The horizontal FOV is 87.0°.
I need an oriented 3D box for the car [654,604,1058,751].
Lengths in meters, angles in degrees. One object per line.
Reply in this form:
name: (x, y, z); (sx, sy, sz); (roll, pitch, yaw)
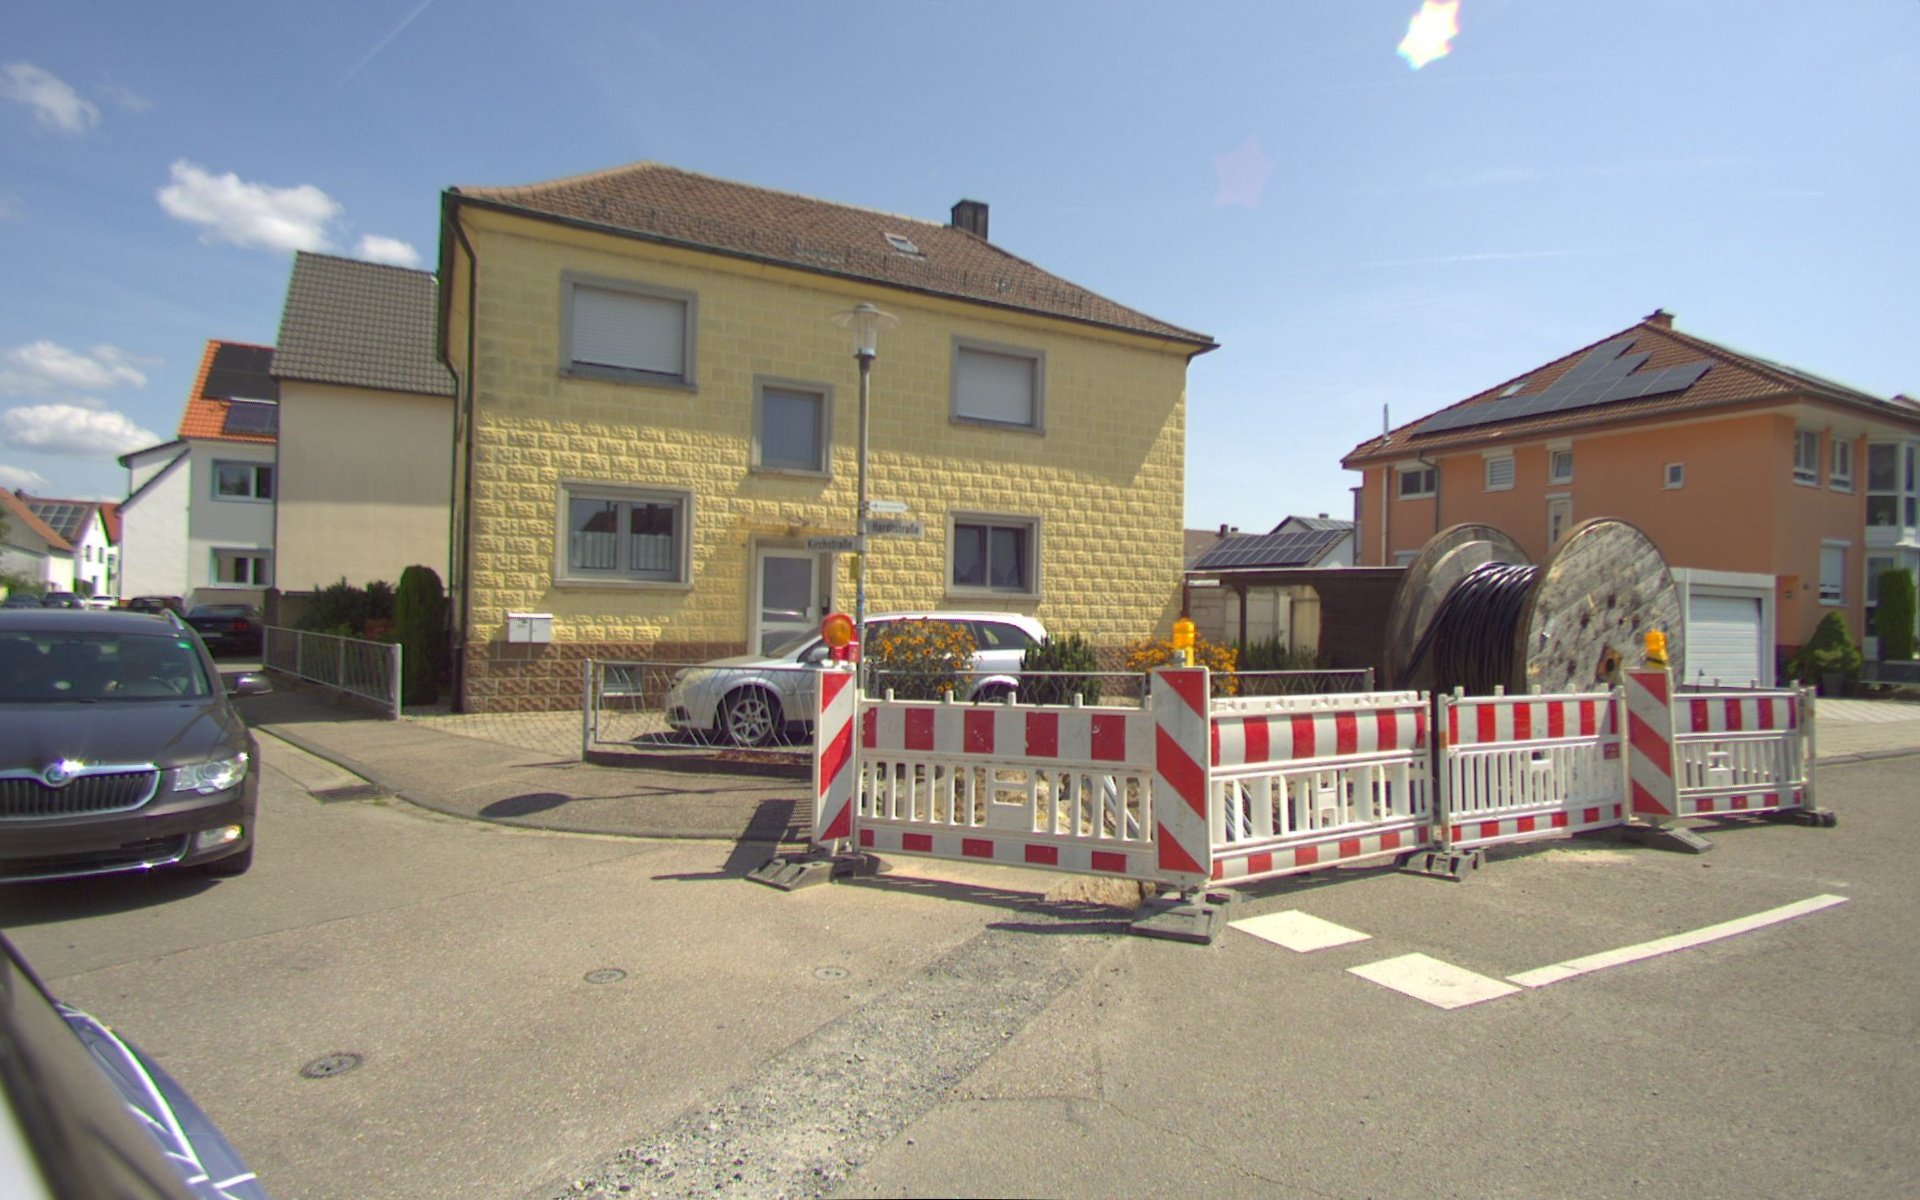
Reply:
car: (-1.254, 0.853, 11.818); (4.397, 1.496, 1.797); (1, -1, -16)

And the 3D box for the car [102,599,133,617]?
car: (-75.933, 0.705, 91.242); (1.756, 1.512, 4.050); (-1, 1, -34)

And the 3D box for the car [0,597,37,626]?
car: (-52.361, 0.616, 55.950); (1.758, 1.490, 4.006); (3, -1, -41)

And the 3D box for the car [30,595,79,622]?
car: (-57.115, 0.511, 63.905); (1.756, 1.621, 4.011); (-1, 1, -34)

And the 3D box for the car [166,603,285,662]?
car: (-19.172, 0.784, 26.616); (1.744, 1.359, 4.484); (0, 0, -25)

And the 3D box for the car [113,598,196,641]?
car: (-28.930, 0.674, 36.446); (1.614, 1.466, 3.799); (0, 0, -27)

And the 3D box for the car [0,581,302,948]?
car: (-5.570, 0.745, 6.118); (1.759, 1.547, 4.714); (6, -5, -43)

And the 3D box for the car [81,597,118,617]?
car: (-68.709, 0.532, 80.870); (1.756, 1.512, 4.050); (-1, 1, -34)
